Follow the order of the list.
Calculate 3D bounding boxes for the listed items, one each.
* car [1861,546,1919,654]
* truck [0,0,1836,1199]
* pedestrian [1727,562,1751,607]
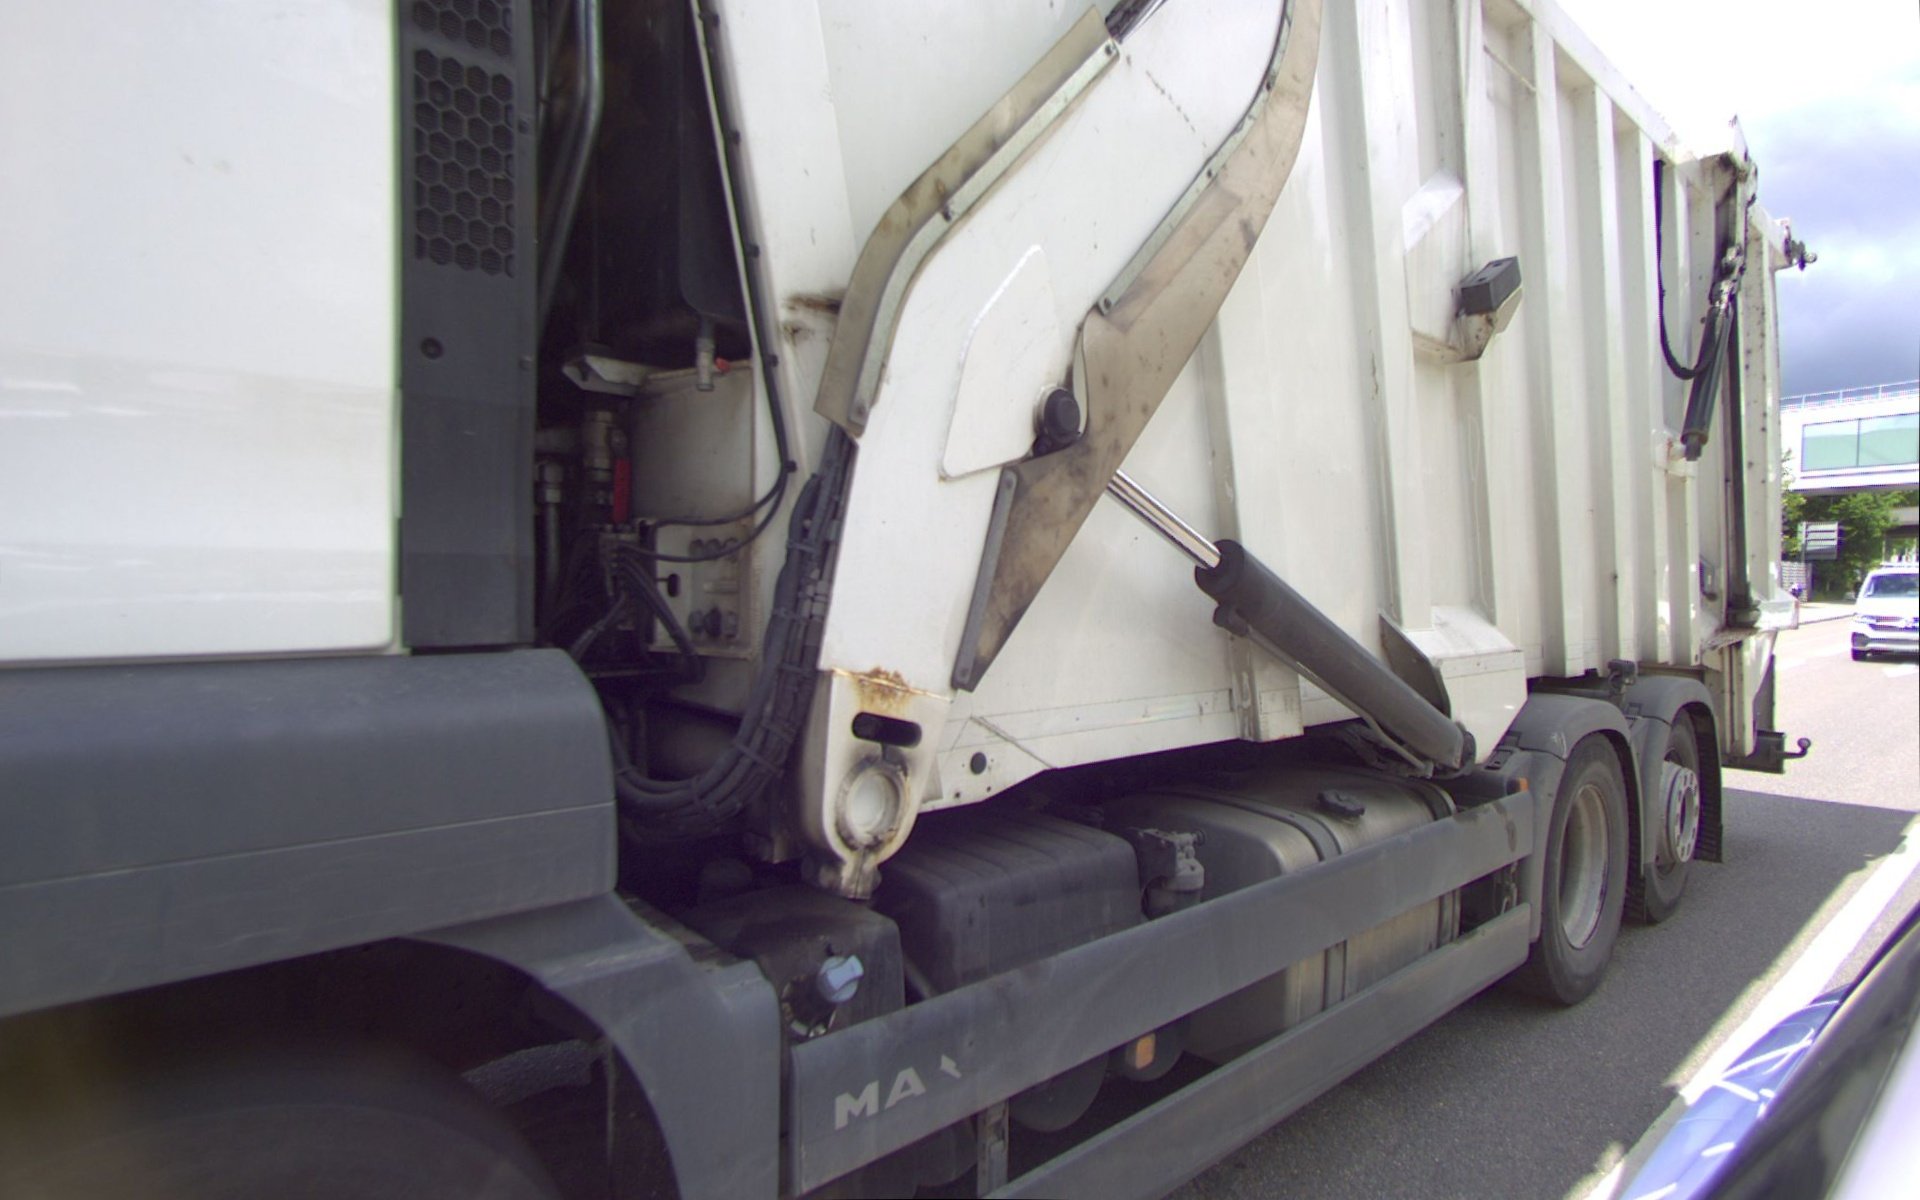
[{"bbox_3d":[20.571,-0.015,21.166,4.574,2.121,1.925,0,1,-40],"label":"car"},{"bbox_3d":[1.119,-0.603,4.144,10.000,3.962,2.493,-1,1,-42],"label":"truck"},{"bbox_3d":[34.187,-0.686,44.425,0.737,1.936,0.648,0,0,45],"label":"pedestrian"}]
